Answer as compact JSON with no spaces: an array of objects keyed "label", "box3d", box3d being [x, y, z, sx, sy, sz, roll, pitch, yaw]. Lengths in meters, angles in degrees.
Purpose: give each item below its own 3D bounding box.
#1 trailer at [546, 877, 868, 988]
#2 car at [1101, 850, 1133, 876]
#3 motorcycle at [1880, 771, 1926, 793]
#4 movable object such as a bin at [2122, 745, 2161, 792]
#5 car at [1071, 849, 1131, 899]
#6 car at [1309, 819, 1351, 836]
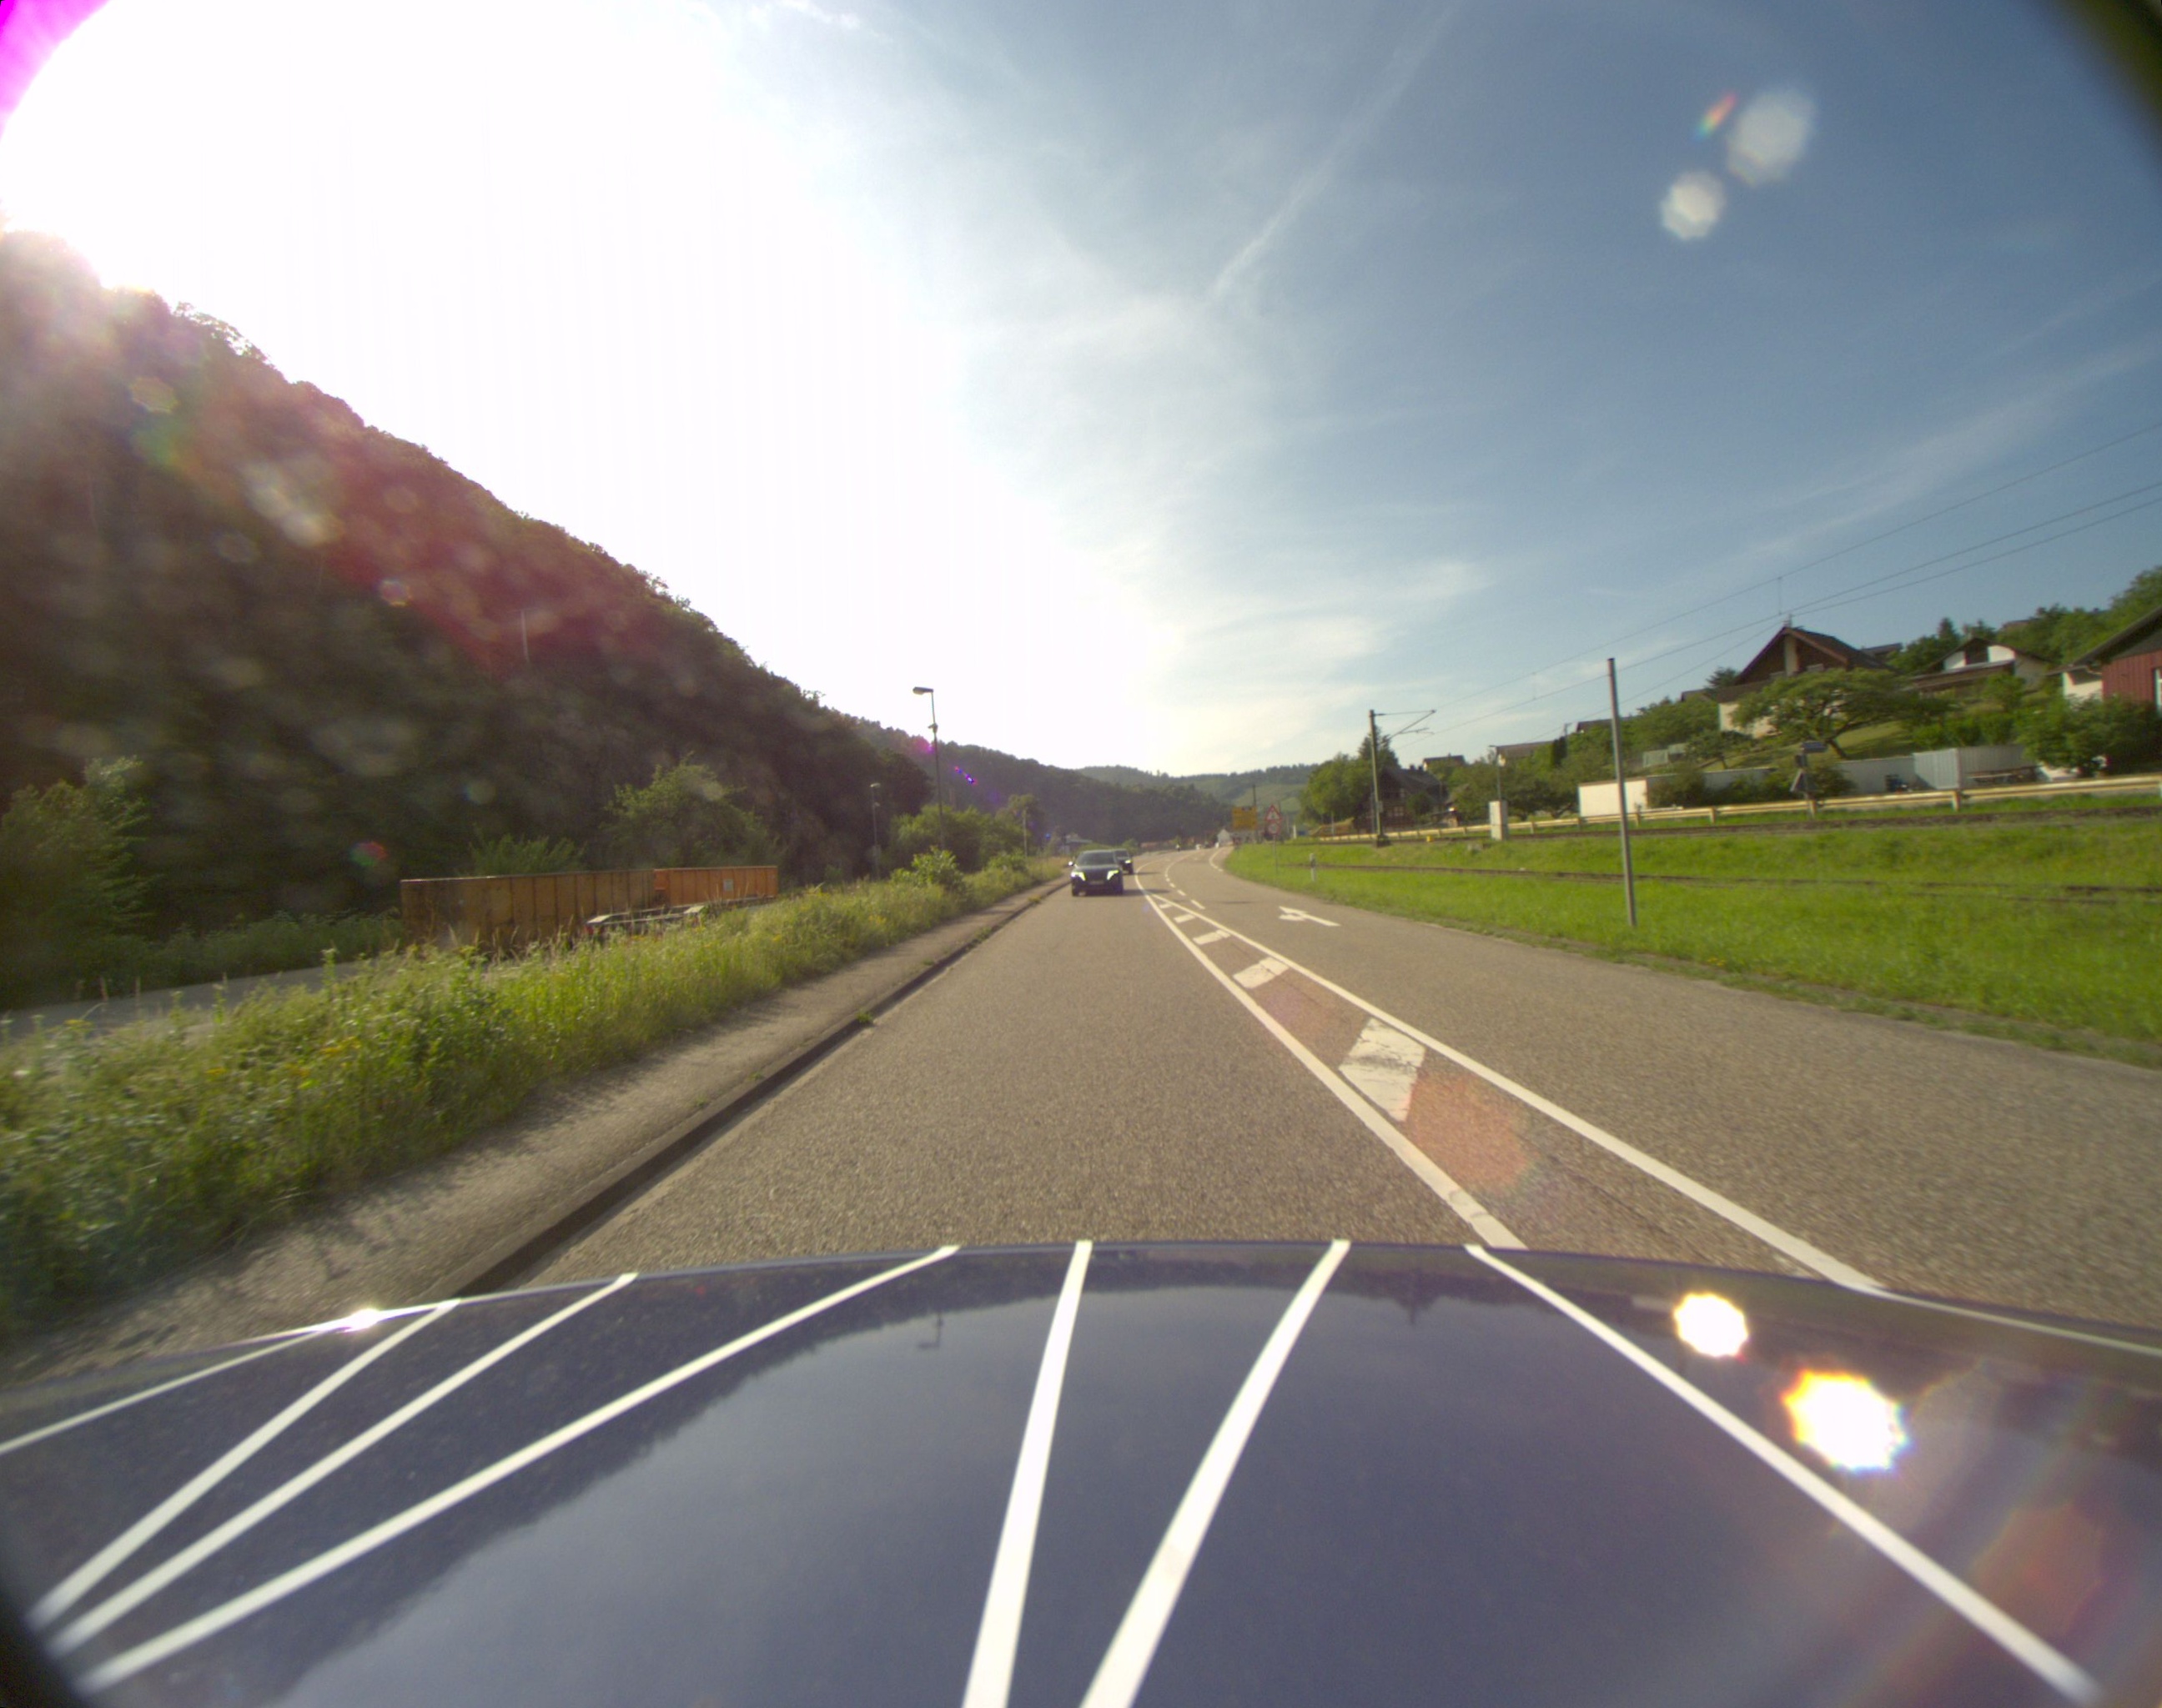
[{"label":"trailer","box3d":[-8.303,1.597,18.987,2.798,1.465,9.888,-6,0,2]},{"label":"car","box3d":[2.327,0.581,49.493,1.919,1.455,4.000,-5,0,2]},{"label":"motorcycle","box3d":[44.413,-3.874,41.080,0.664,0.987,1.744,-5,0,5]},{"label":"movable object such as a bin","box3d":[29.245,-2.346,20.386,1.143,1.185,1.093,-5,1,-5]},{"label":"car","box3d":[0.876,0.718,29.381,1.998,1.661,5.512,-3,0,4]},{"label":"car","box3d":[46.786,-4.936,142.864,7.072,2.442,2.952,-5,0,23]}]
